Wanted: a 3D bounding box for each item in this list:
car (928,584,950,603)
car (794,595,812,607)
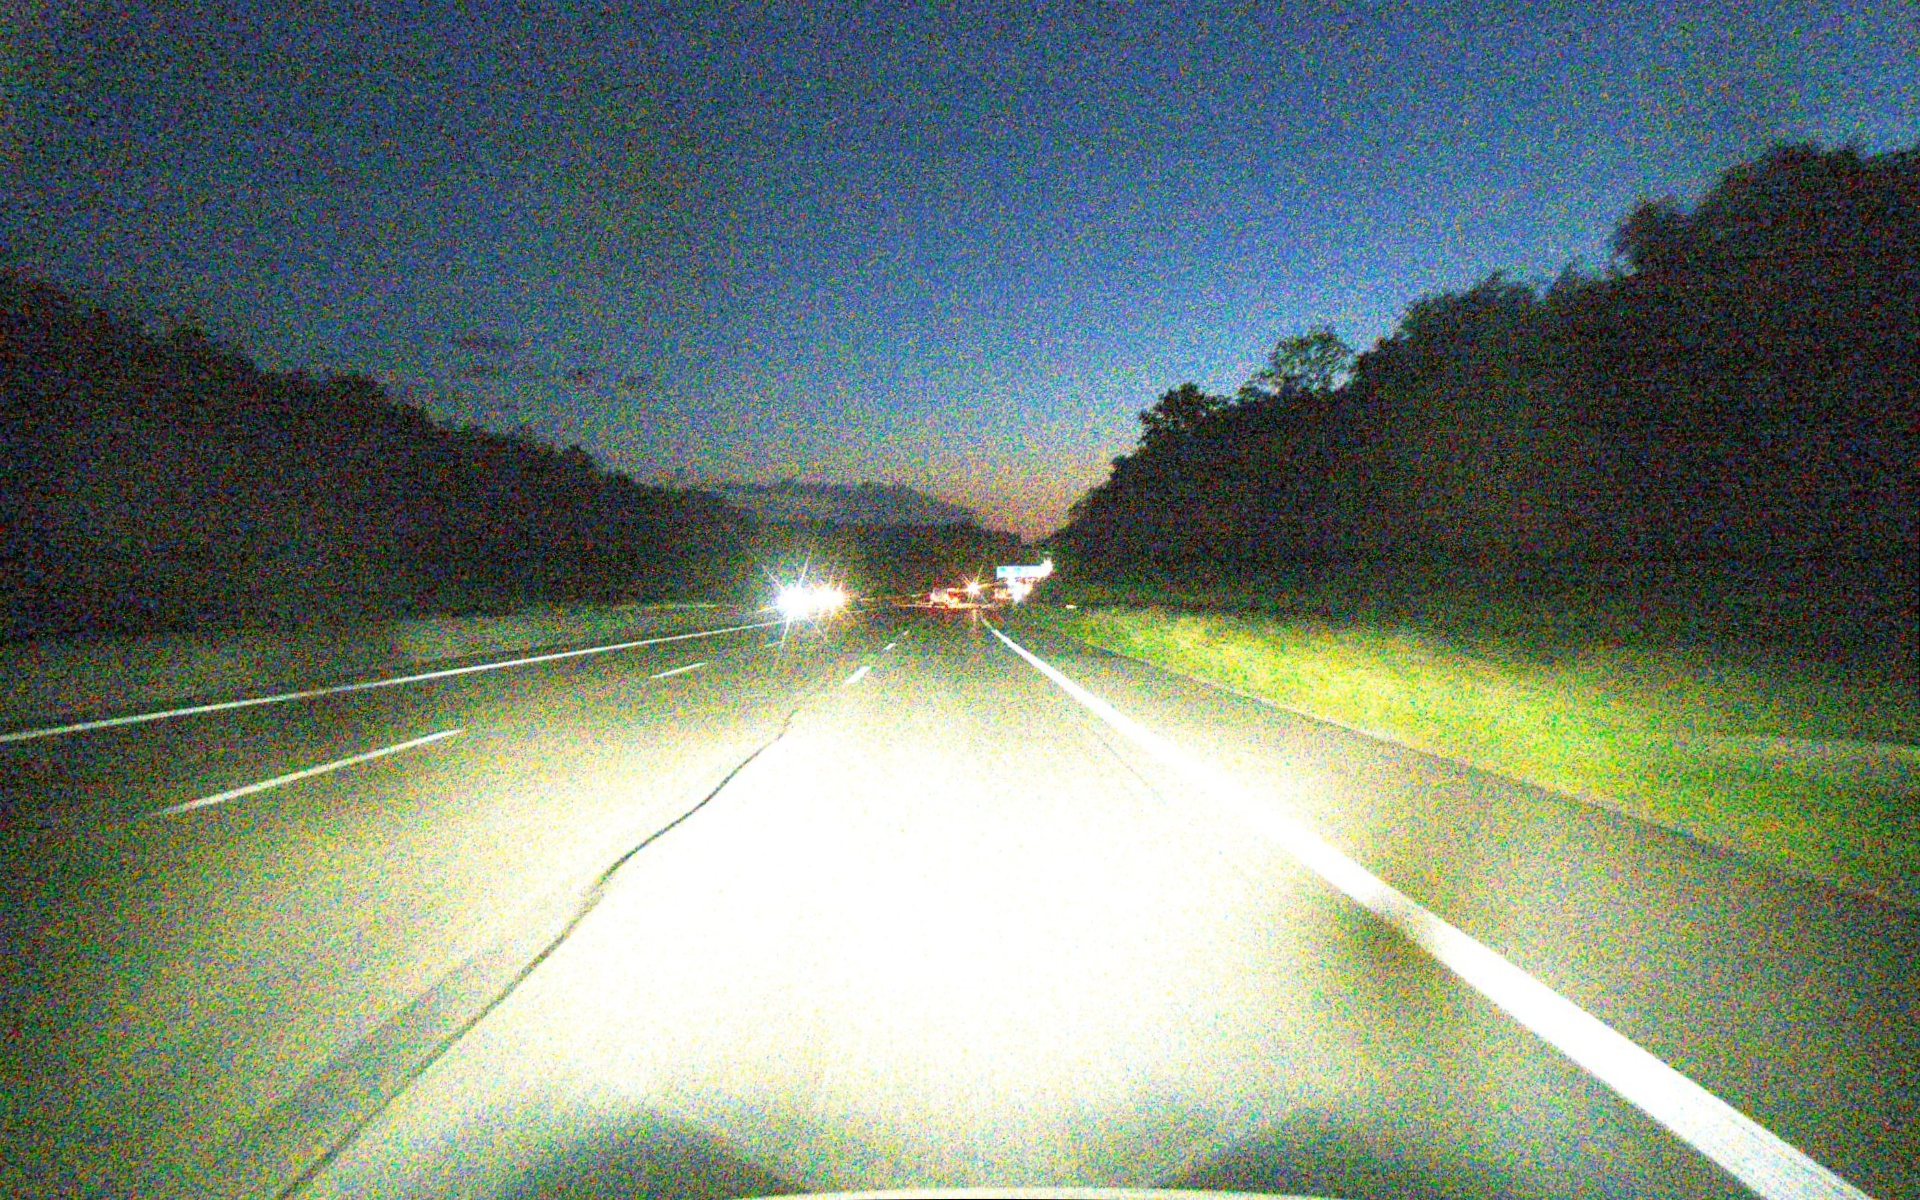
[{"bbox_3d":[-2.622,-0.797,208.095,2.459,2.354,4.971,0,0,1],"label":"car"},{"bbox_3d":[-21.495,0.184,226.313,2.009,1.626,5.076,0,0,-1],"label":"car"}]
